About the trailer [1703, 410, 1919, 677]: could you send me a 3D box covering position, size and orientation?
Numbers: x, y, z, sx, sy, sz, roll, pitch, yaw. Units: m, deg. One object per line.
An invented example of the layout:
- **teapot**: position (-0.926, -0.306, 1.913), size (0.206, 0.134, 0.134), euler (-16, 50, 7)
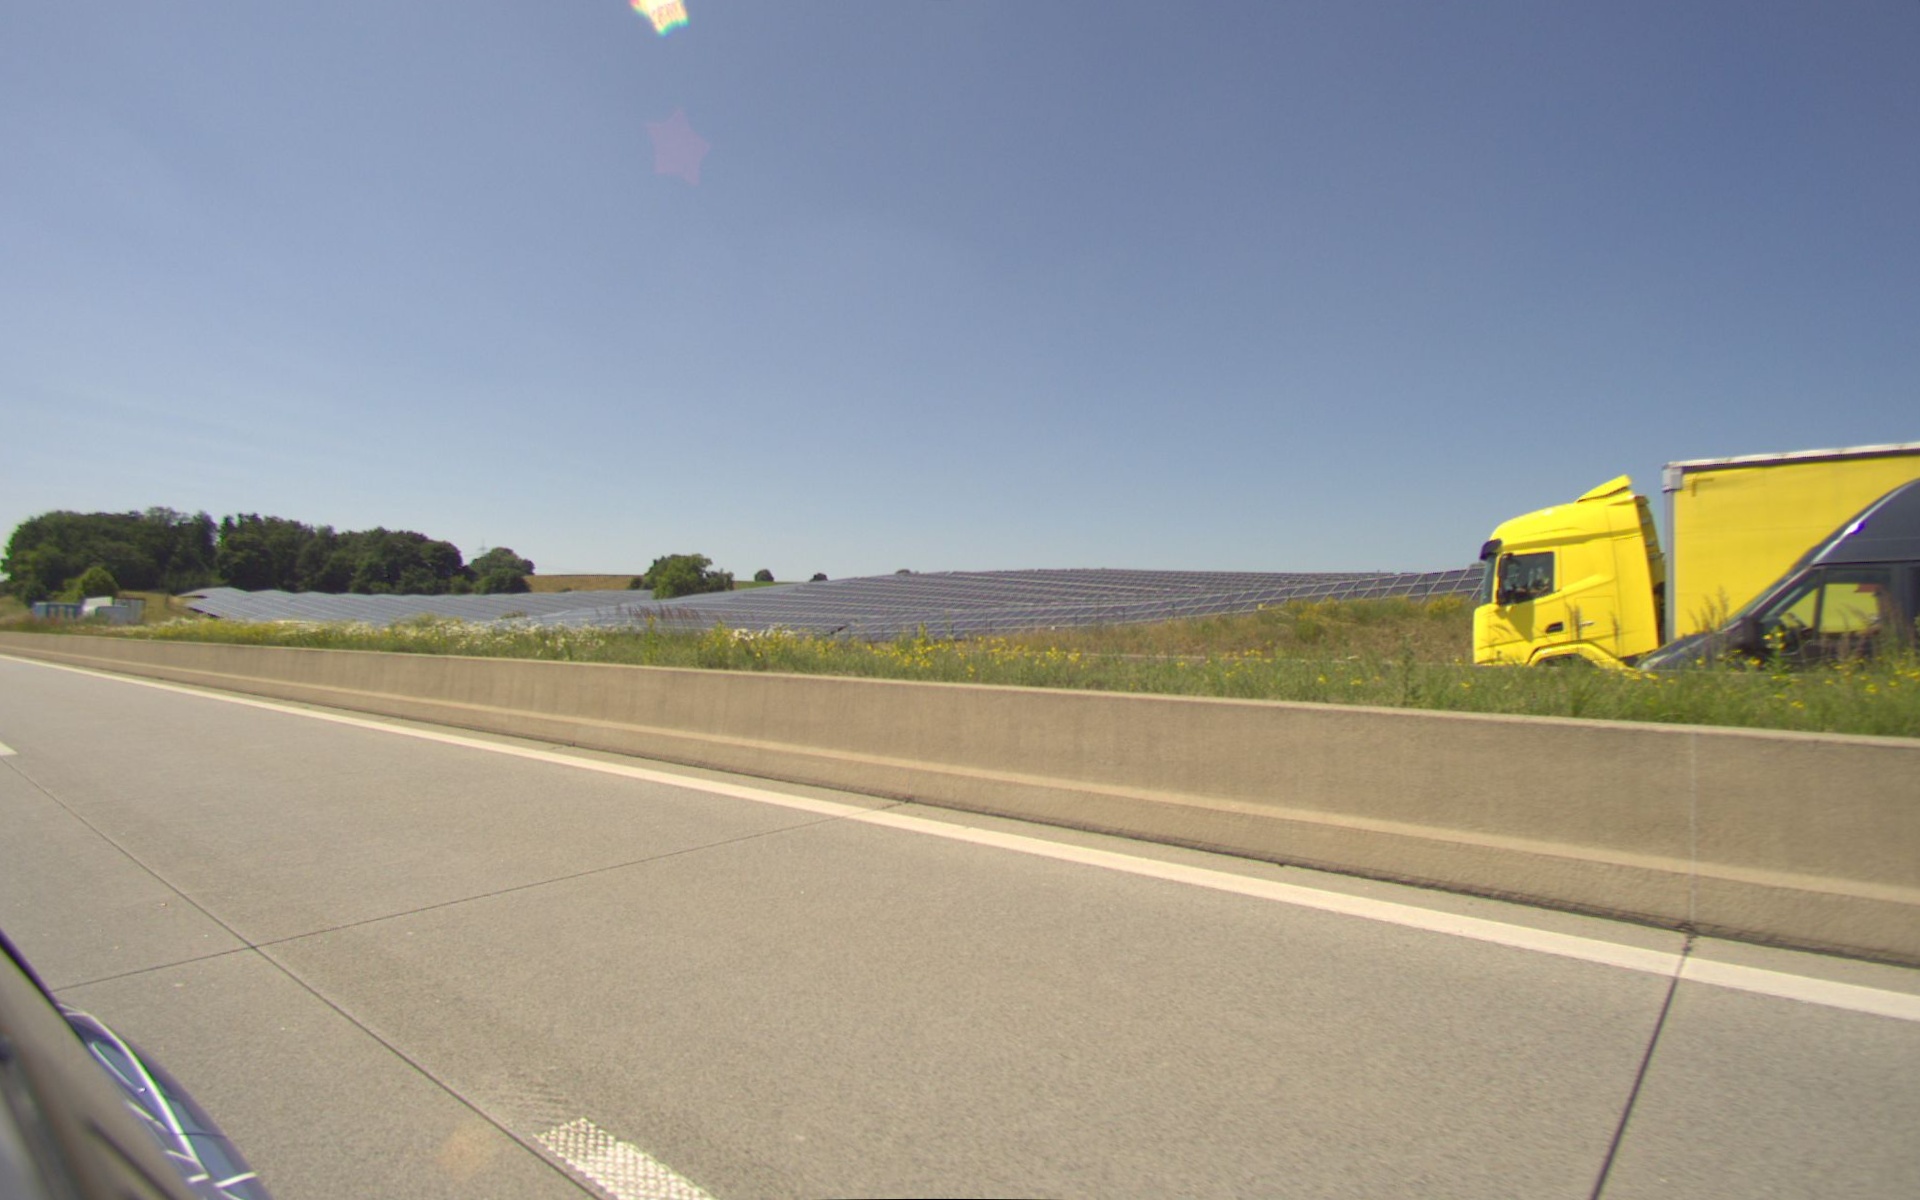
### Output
- **trailer**: position (17.281, -0.811, 11.531), size (14.015, 3.577, 2.901), euler (-1, 0, 42)

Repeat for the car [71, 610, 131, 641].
- **car**: position (-60.061, 1.744, 70.715), size (6.344, 2.029, 2.161), euler (-1, 0, 40)

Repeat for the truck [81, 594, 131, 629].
- **truck**: position (-89.620, 1.168, 106.175), size (6.882, 3.513, 3.090), euler (-1, 0, 41)

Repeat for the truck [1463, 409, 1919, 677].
- **truck**: position (11.898, -0.752, 16.198), size (6.345, 3.566, 2.892), euler (-1, 0, 41)

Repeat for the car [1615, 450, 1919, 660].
- **car**: position (9.001, -0.388, 8.746), size (5.387, 1.741, 1.973), euler (-1, 0, 41)

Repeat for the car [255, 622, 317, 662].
- **car**: position (-27.463, 1.673, 41.221), size (2.965, 1.494, 1.391), euler (-1, 0, 41)

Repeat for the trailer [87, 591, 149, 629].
- **trailer**: position (-85.003, 1.004, 102.043), size (11.759, 3.551, 3.042), euler (-1, 0, 42)

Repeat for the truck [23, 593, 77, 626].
- **truck**: position (-91.062, 0.967, 101.221), size (10.370, 3.087, 2.795), euler (-1, 0, 41)
